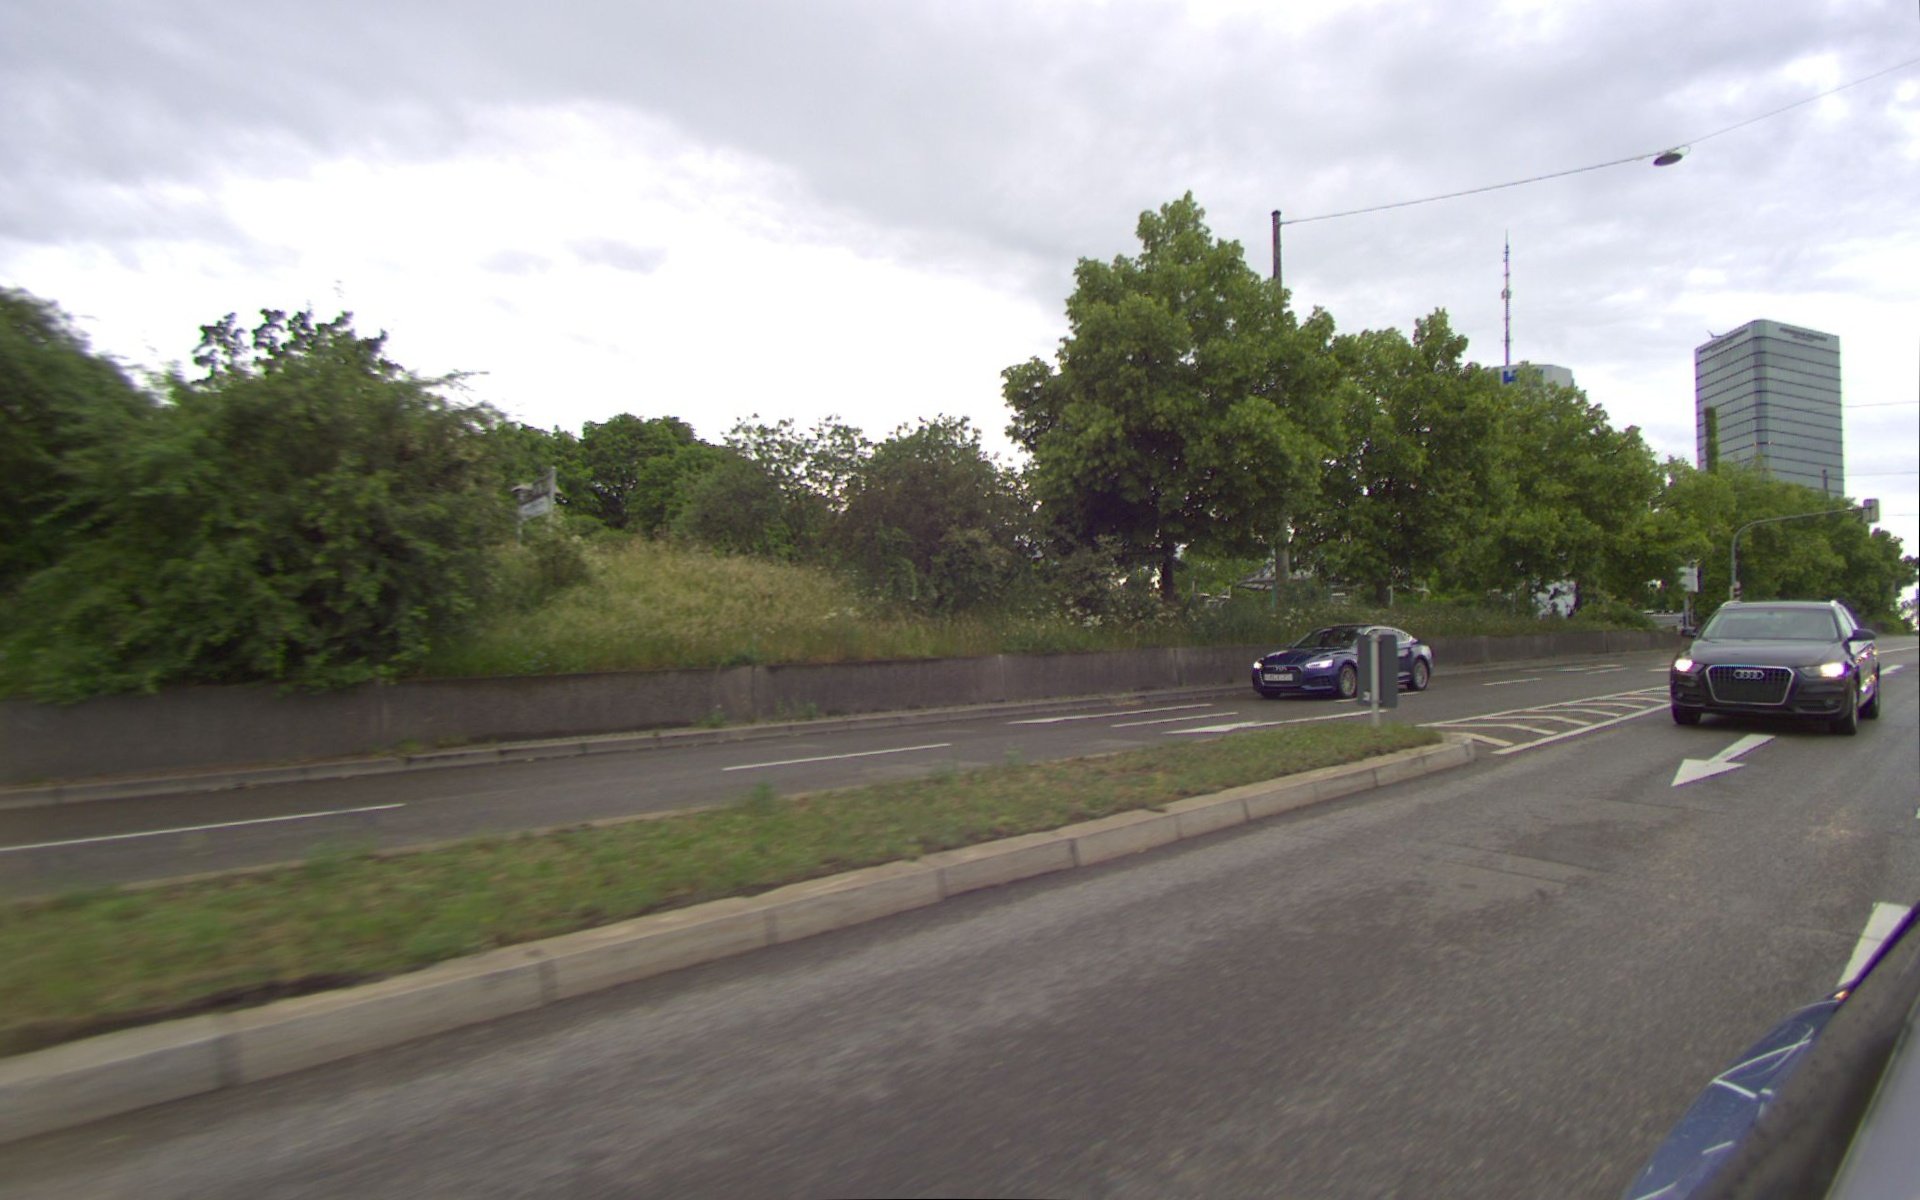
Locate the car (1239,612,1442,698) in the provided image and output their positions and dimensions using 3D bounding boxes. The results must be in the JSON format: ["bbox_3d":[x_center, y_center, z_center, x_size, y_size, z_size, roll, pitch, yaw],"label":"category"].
[{"bbox_3d":[7.585,1.019,19.999,4.271,1.444,1.875,-1,-1,-40],"label":"car"}]

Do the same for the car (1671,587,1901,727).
[{"bbox_3d":[10.853,0.652,13.197,4.056,1.553,1.727,0,-2,-42],"label":"car"}]
